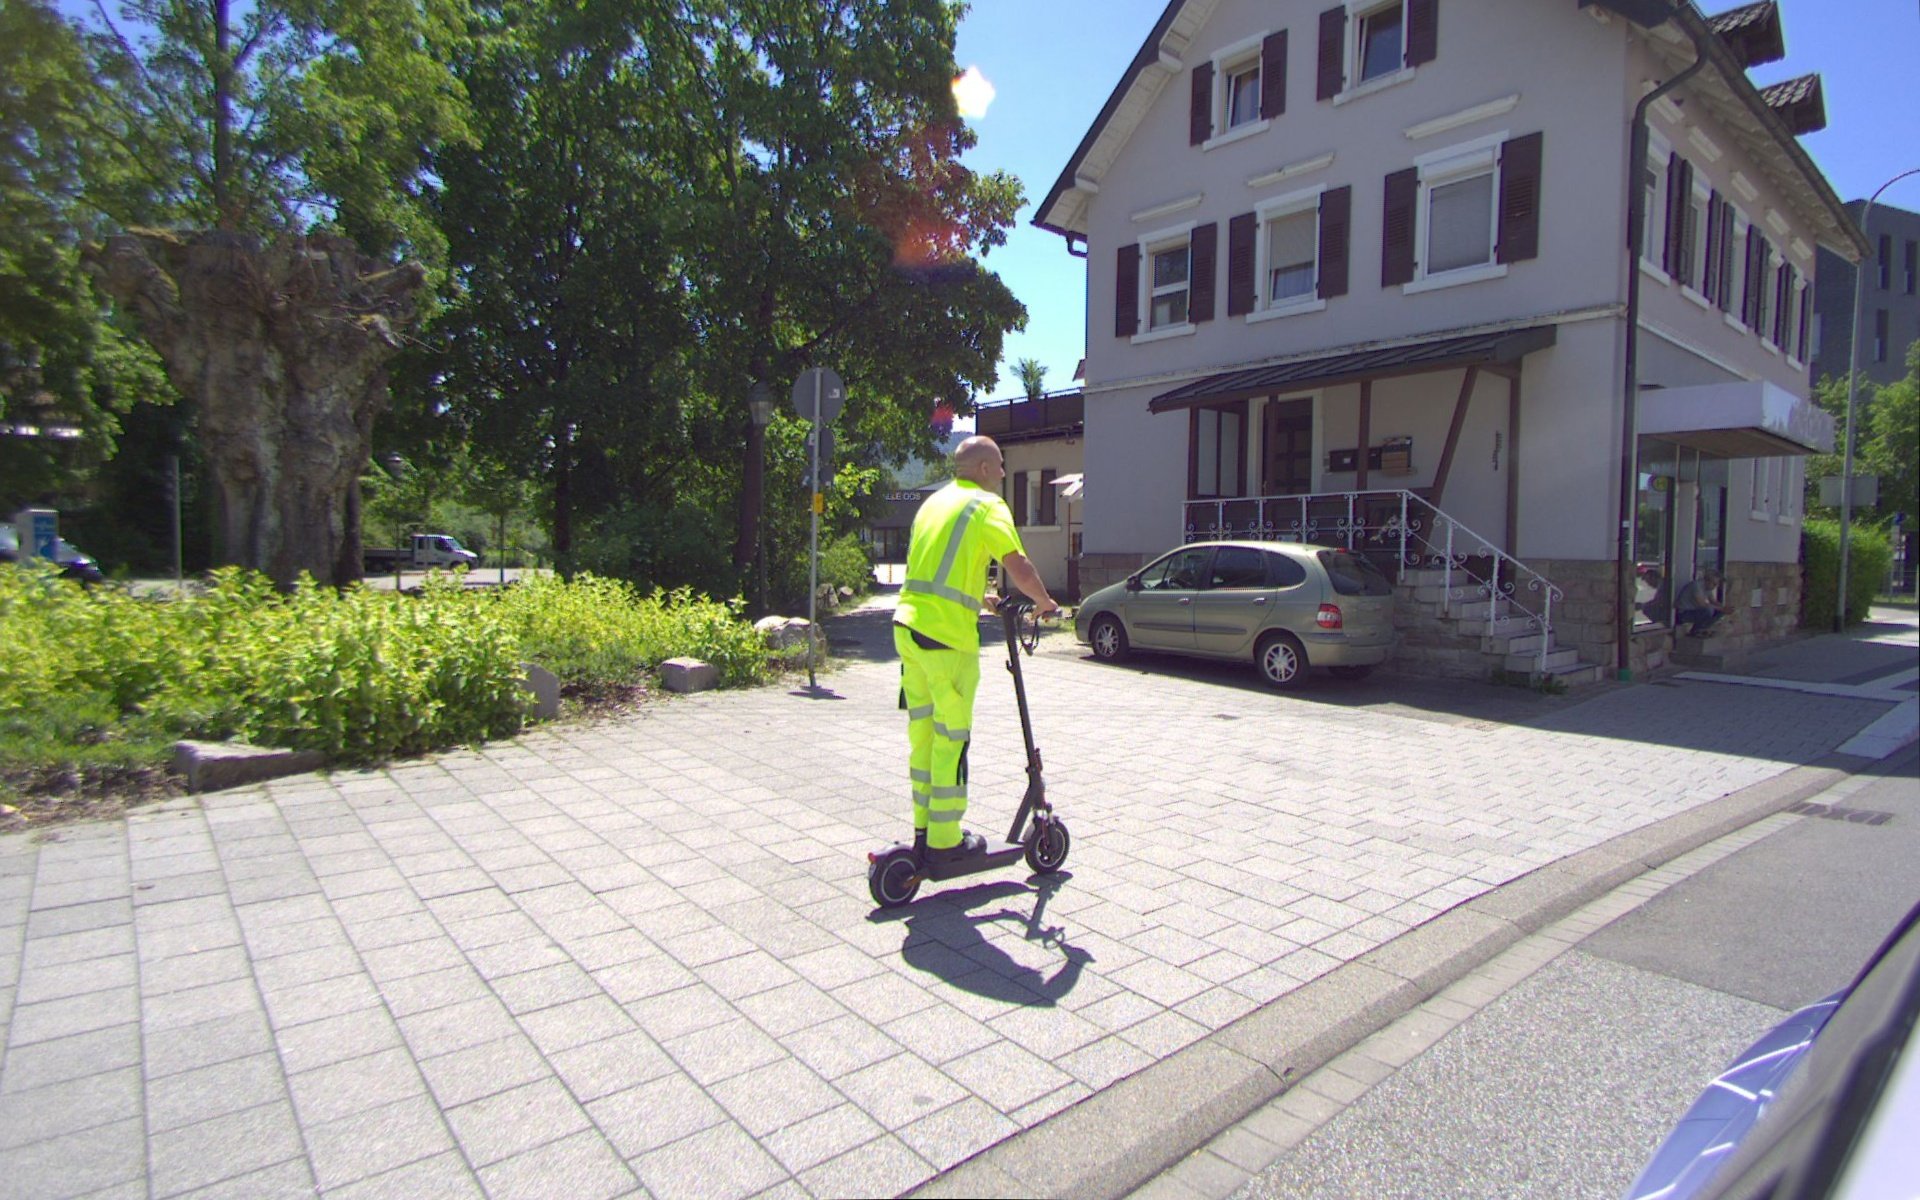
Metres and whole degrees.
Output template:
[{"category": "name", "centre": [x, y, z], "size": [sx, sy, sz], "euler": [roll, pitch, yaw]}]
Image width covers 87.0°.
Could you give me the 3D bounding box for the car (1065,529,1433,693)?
[{"category": "car", "centre": [3.386, -0.017, 12.541], "size": [1.770, 1.614, 4.073], "euler": [-1, 5, -39]}]

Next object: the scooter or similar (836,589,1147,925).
[{"category": "scooter or similar", "centre": [0.140, 0.589, 4.327], "size": [1.215, 1.237, 0.531], "euler": [-1, 3, -29]}]

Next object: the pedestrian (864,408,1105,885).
[{"category": "pedestrian", "centre": [0.084, 0.164, 4.322], "size": [0.724, 1.821, 0.682], "euler": [0, 3, -29]}]

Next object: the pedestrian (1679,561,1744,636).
[{"category": "pedestrian", "centre": [10.639, -0.039, 14.330], "size": [0.712, 1.011, 0.590], "euler": [-2, 4, -44]}]

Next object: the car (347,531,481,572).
[{"category": "car", "centre": [-32.089, -2.859, 59.678], "size": [6.624, 2.266, 2.199], "euler": [0, 3, -10]}]

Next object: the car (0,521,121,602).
[{"category": "car", "centre": [-18.689, -0.796, 19.673], "size": [3.701, 1.471, 1.670], "euler": [1, 3, 10]}]
